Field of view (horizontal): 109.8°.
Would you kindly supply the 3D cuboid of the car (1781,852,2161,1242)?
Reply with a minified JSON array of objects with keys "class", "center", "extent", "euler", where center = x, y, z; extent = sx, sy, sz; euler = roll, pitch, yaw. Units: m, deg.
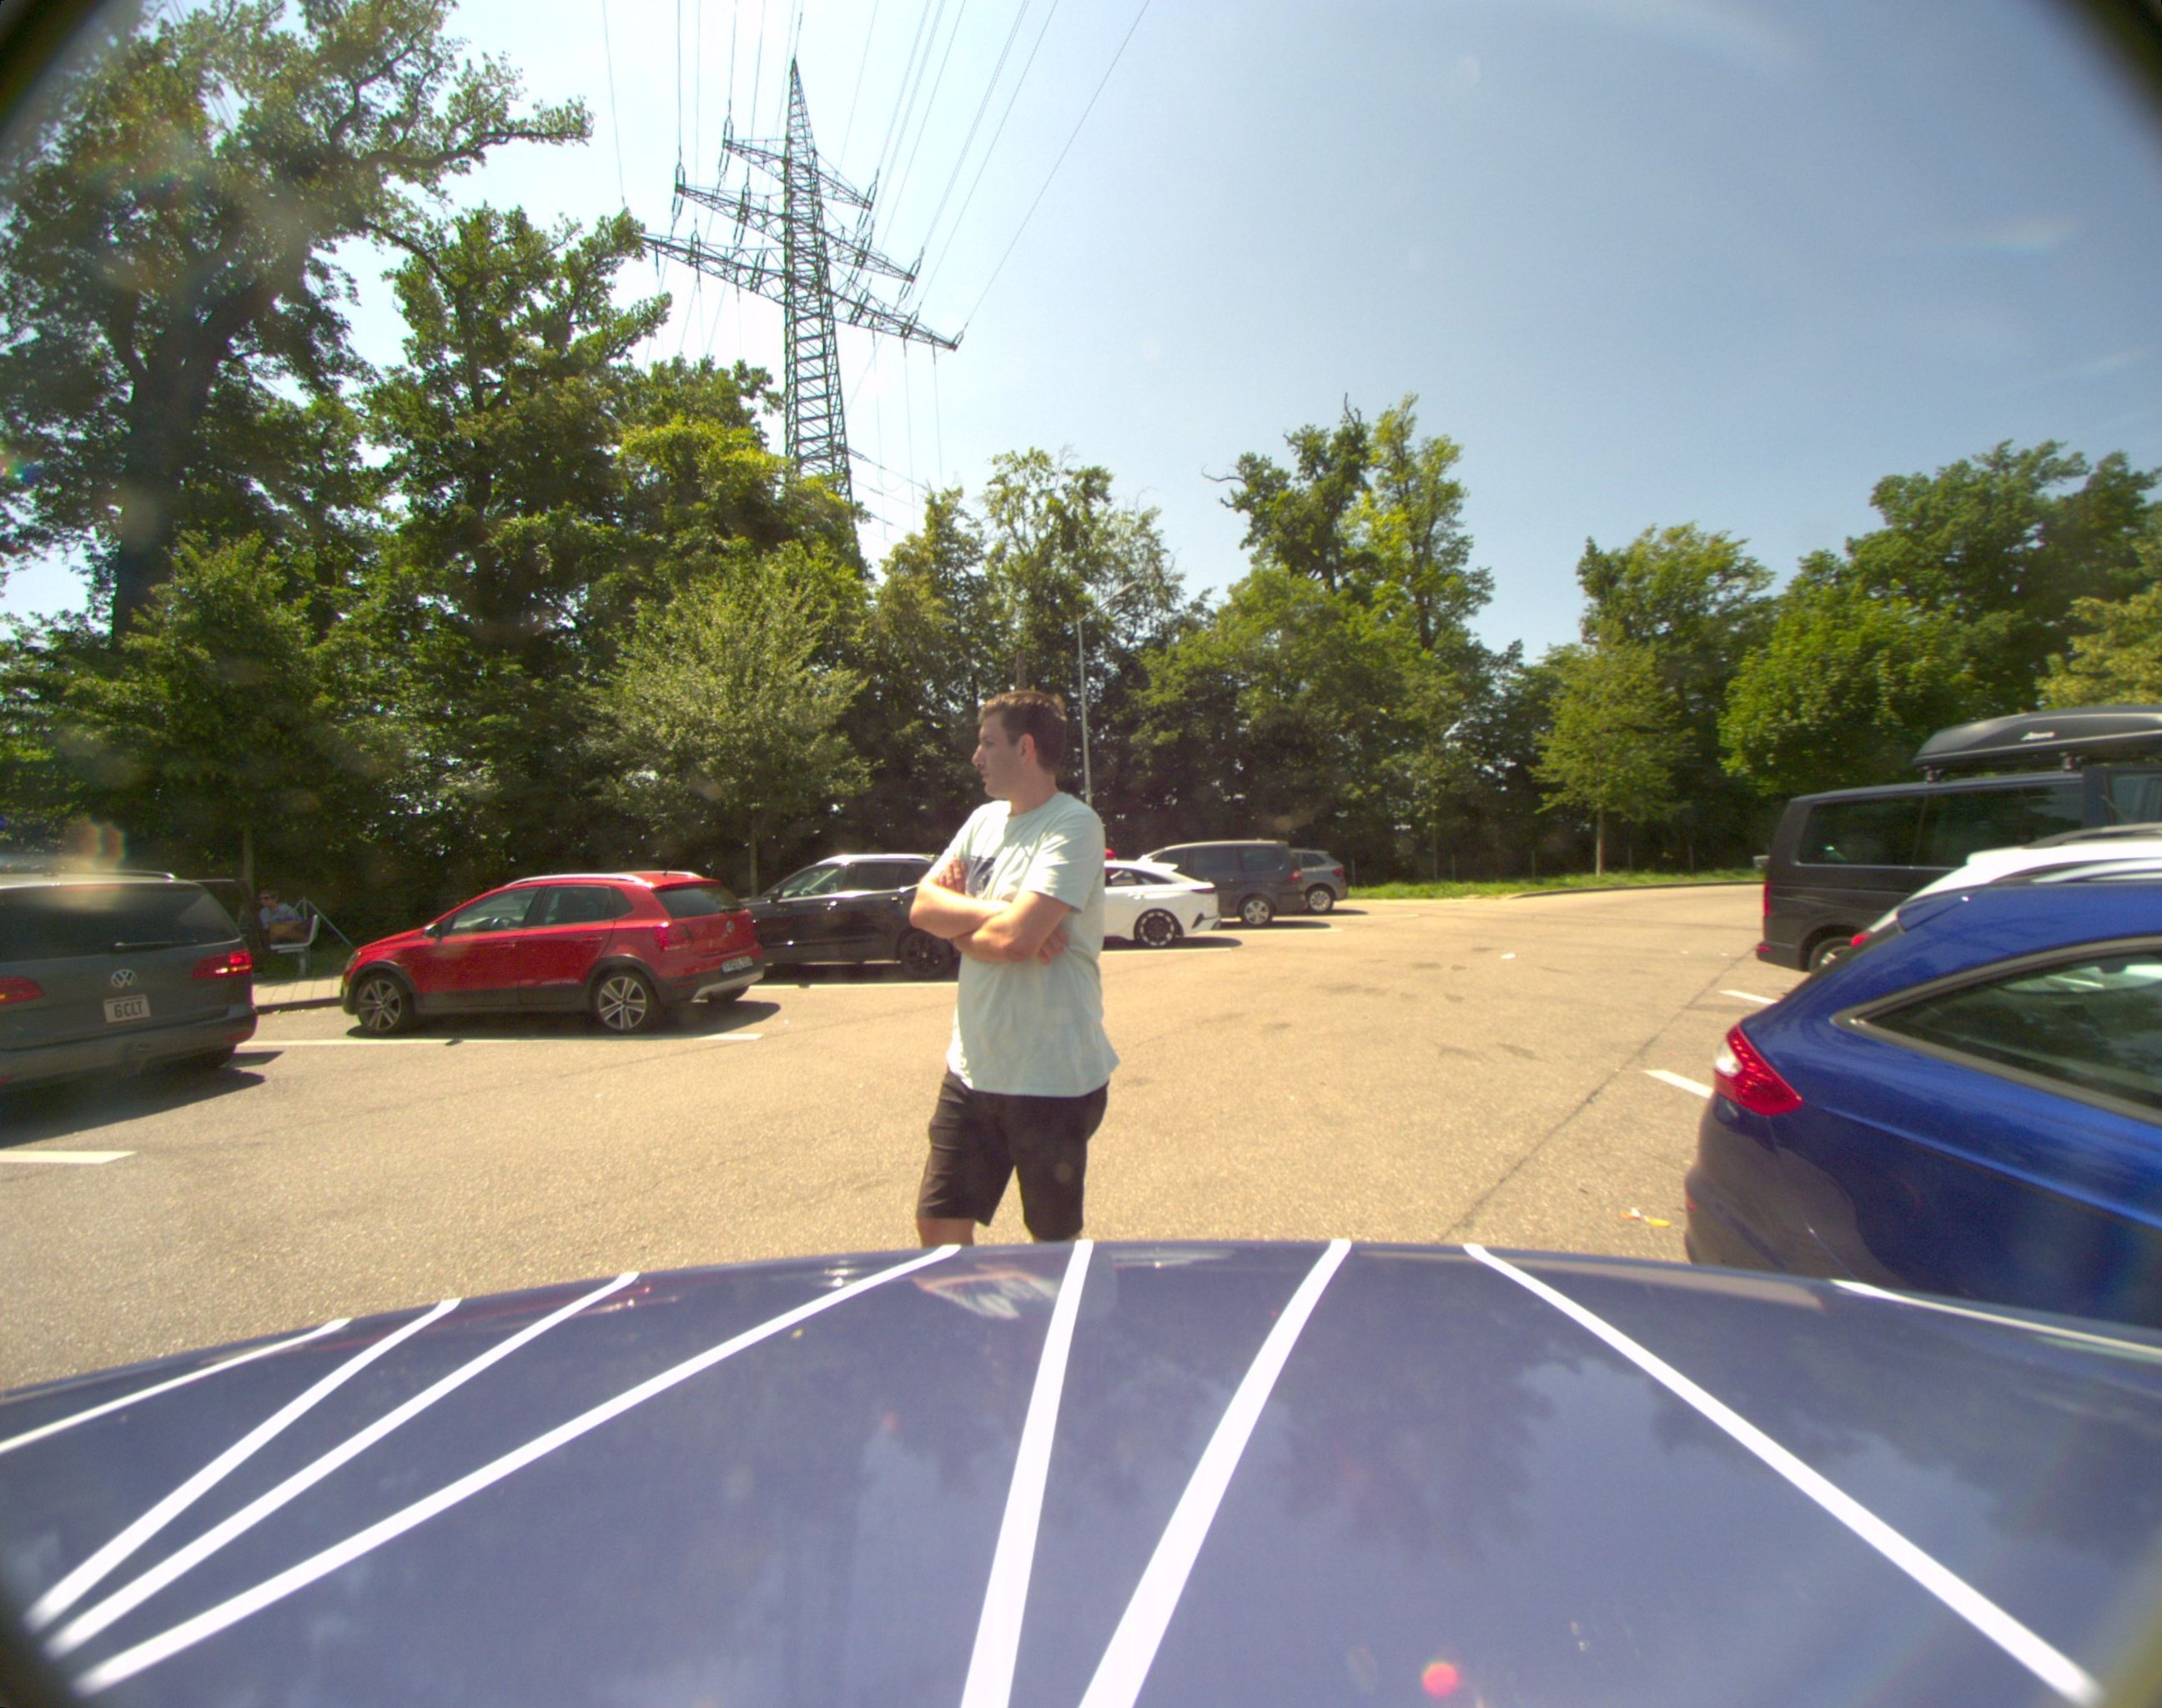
[{"class":"car","center":[4.787,0.703,2.416],"extent":[1.607,1.405,3.743],"euler":[-2,-1,-1]}]

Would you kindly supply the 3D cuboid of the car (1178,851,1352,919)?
[{"class":"car","center":[4.268,0.710,18.124],"extent":[3.805,1.468,1.743],"euler":[-1,1,5]}]

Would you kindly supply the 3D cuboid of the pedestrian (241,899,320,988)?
[{"class":"pedestrian","center":[-11.707,1.297,11.115],"extent":[0.680,1.211,0.675],"euler":[-4,-2,36]}]

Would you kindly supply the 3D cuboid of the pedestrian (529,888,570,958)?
[{"class":"pedestrian","center":[-10.159,1.303,14.525],"extent":[0.490,1.291,0.506],"euler":[-2,0,41]}]

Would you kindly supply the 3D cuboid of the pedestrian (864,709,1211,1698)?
[{"class":"pedestrian","center":[-0.169,0.653,1.875],"extent":[0.634,1.857,0.747],"euler":[-2,0,-17]}]

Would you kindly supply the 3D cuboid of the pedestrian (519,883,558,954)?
[{"class":"pedestrian","center":[-10.944,1.286,15.331],"extent":[0.490,1.367,0.506],"euler":[-2,0,41]}]

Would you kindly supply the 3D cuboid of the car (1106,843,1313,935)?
[{"class":"car","center":[2.519,0.683,15.480],"extent":[3.882,1.680,1.882],"euler":[-1,0,5]}]

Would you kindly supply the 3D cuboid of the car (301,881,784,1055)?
[{"class":"car","center":[-5.233,1.068,7.654],"extent":[3.804,1.449,1.637],"euler":[-1,1,7]}]

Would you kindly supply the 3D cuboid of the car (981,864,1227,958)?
[{"class":"car","center":[0.416,0.911,12.730],"extent":[3.805,1.359,1.803],"euler":[-1,1,5]}]

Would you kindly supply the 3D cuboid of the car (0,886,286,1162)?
[{"class":"car","center":[-8.334,1.099,5.438],"extent":[3.950,1.581,1.753],"euler":[-1,1,11]}]

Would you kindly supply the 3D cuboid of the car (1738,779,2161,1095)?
[{"class":"car","center":[7.315,0.458,5.013],"extent":[2.048,1.850,4.430],"euler":[-2,-1,-1]}]

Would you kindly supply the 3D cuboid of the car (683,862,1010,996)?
[{"class":"car","center":[-2.998,0.942,10.281],"extent":[3.806,1.538,1.759],"euler":[-1,1,2]}]

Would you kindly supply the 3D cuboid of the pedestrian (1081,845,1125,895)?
[{"class":"pedestrian","center":[0.603,0.416,20.465],"extent":[0.890,1.292,0.865],"euler":[-2,0,22]}]
